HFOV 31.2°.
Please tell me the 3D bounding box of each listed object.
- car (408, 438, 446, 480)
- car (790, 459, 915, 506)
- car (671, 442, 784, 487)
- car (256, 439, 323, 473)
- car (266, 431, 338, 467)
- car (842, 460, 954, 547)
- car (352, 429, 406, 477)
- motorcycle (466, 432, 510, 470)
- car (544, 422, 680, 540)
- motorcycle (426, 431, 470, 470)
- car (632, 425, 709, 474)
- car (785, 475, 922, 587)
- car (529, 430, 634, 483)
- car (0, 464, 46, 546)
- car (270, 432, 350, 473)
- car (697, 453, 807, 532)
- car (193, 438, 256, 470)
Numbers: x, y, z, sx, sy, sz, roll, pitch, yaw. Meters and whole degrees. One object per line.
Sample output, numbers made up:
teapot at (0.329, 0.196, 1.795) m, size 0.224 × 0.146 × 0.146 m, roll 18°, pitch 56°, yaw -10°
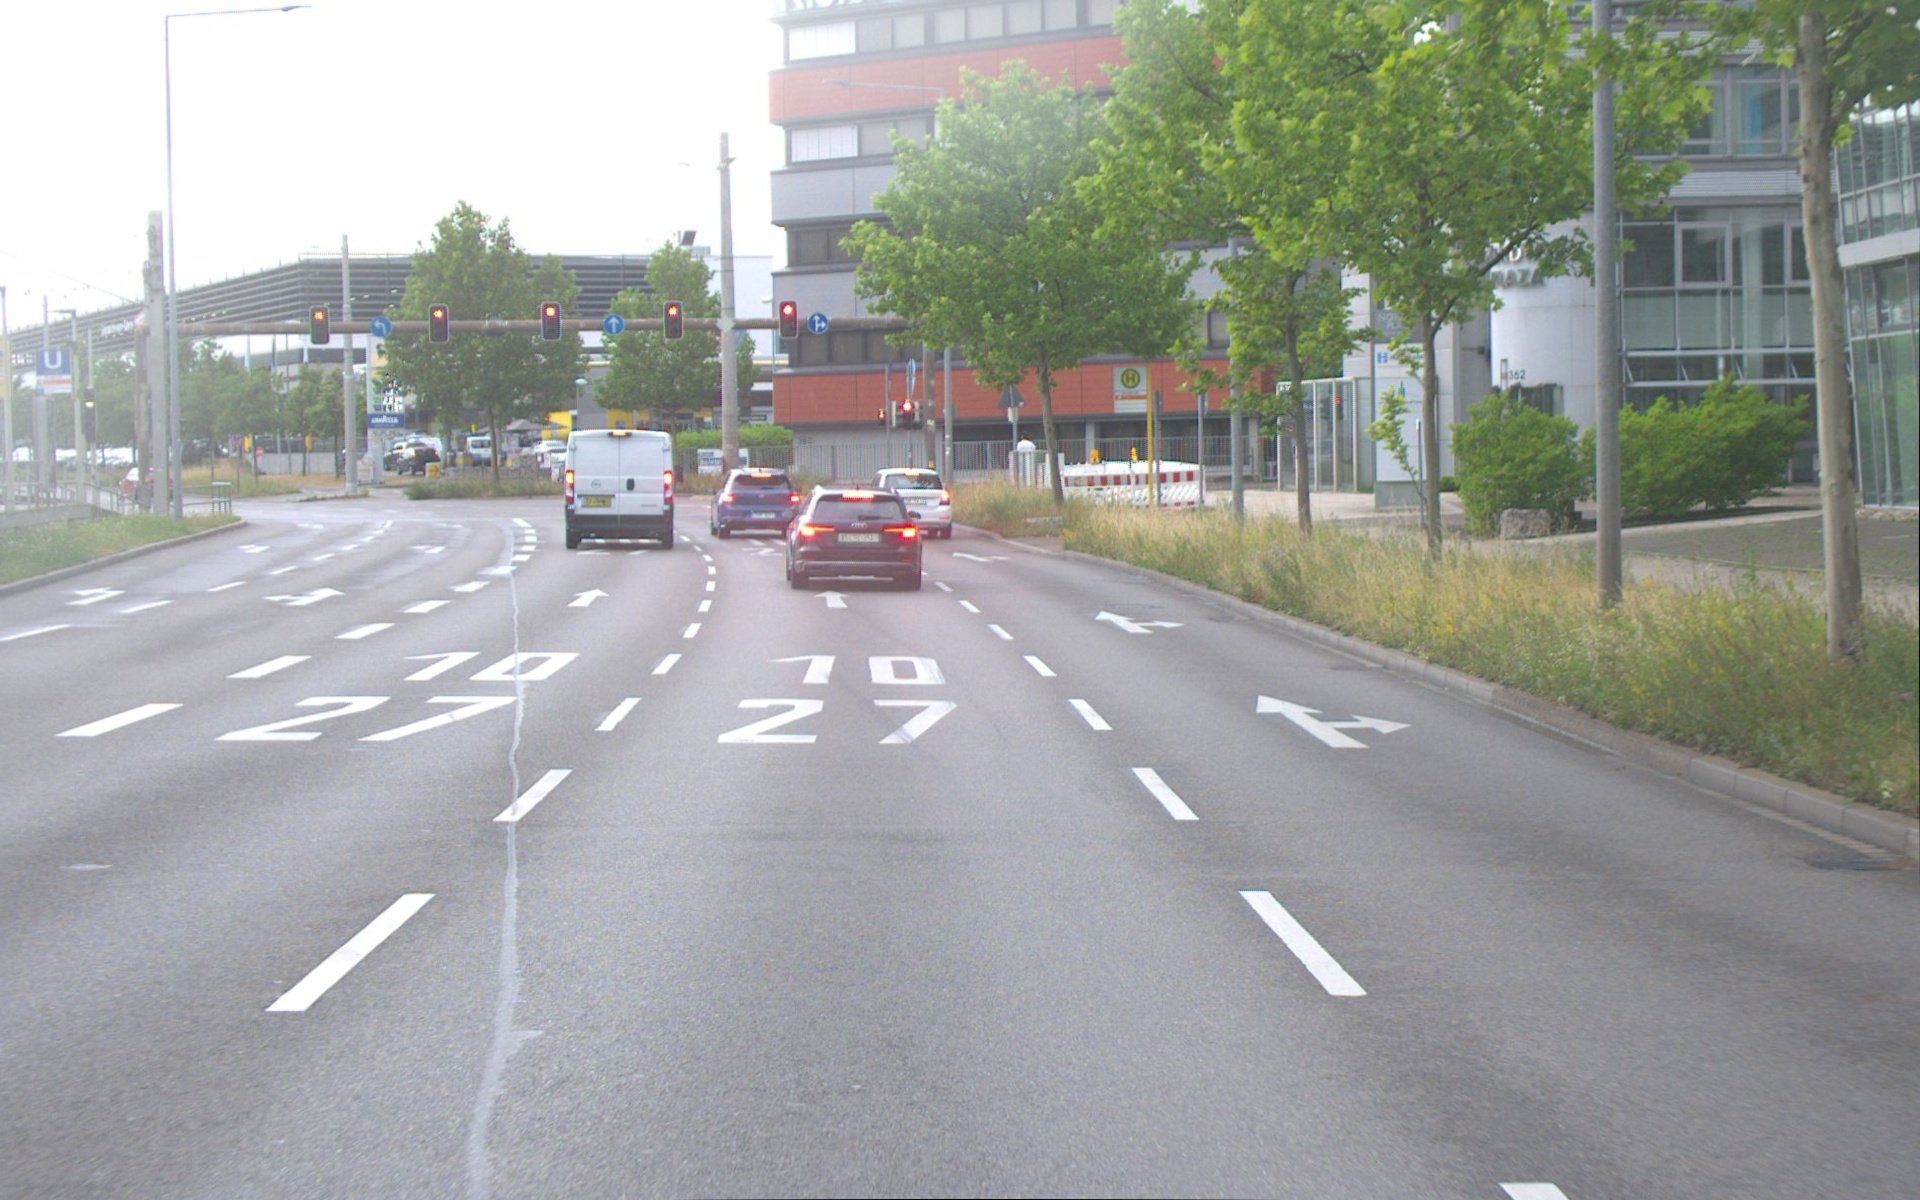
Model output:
car at (-27.902, -7.373, 180.011) m, size 1.817 × 2.007 × 3.471 m, roll 0°, pitch -1°, yaw -11°
car at (-3.881, -4.202, 123.281) m, size 4.322 × 1.617 × 2.023 m, roll 2°, pitch 2°, yaw 43°
car at (-8.683, -5.030, 128.237) m, size 3.997 × 1.617 × 2.023 m, roll 2°, pitch 2°, yaw 43°
car at (-43.928, -9.442, 225.147) m, size 3.986 × 2.007 × 2.000 m, roll 0°, pitch -1°, yaw -23°
car at (-39.989, -9.187, 209.029) m, size 3.986 × 2.007 × 2.000 m, roll 0°, pitch -1°, yaw -23°
car at (-1.341, -2.072, 72.874) m, size 2.021 × 1.763 × 4.001 m, roll 0°, pitch 2°, yaw -6°
car at (-27.640, -6.980, 163.519) m, size 1.993 × 2.007 × 4.001 m, roll 0°, pitch -1°, yaw -17°
motorcycle at (-27.947, -8.822, 203.624) m, size 1.993 × 2.007 × 4.001 m, roll 1°, pitch -1°, yaw -17°
car at (-6.669, -2.272, 66.403) m, size 2.511 × 2.169 × 5.150 m, roll 0°, pitch 2°, yaw -5°
motorcycle at (-30.237, -8.824, 202.813) m, size 1.993 × 2.007 × 4.001 m, roll 1°, pitch -1°, yaw -17°
car at (-13.502, -6.977, 160.151) m, size 1.993 × 2.007 × 4.000 m, roll 1°, pitch -1°, yaw -31°
car at (-1.451, -1.005, 48.440) m, size 1.764 × 1.458 × 4.627 m, roll 1°, pitch 2°, yaw 0°
car at (-15.082, -5.703, 136.772) m, size 3.997 × 2.007 × 1.995 m, roll 2°, pitch 1°, yaw 43°
car at (-20.694, -2.045, 72.699) m, size 1.993 × 1.669 × 3.848 m, roll 3°, pitch 1°, yaw -6°
car at (-35.681, -8.087, 188.611) m, size 3.986 × 2.007 × 2.000 m, roll 0°, pitch -1°, yaw -23°
car at (-4.433, -2.252, 72.690) m, size 2.021 × 1.617 × 4.001 m, roll 0°, pitch 1°, yaw -8°
car at (-51.361, -10.193, 240.164) m, size 3.986 × 2.007 × 2.000 m, roll 0°, pitch -1°, yaw -23°
